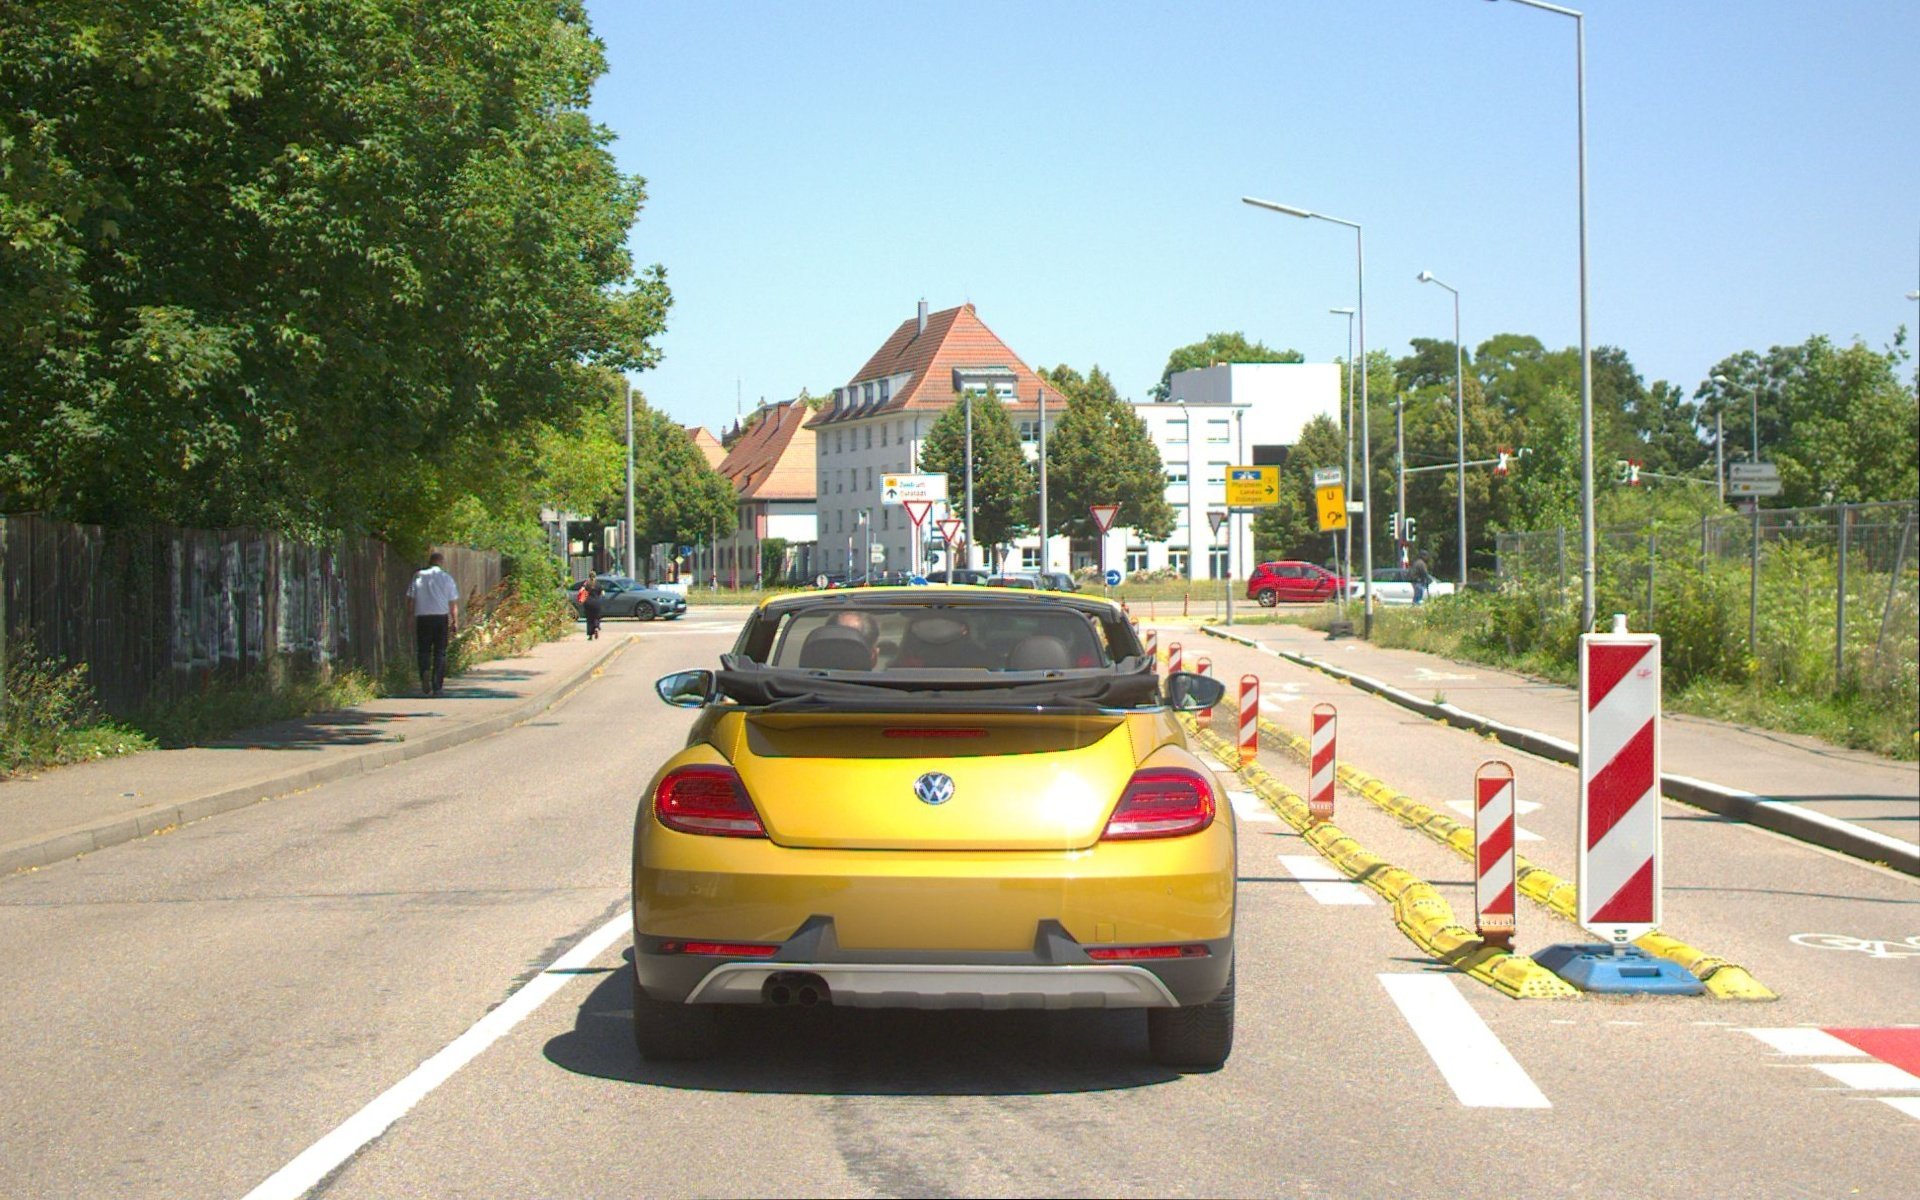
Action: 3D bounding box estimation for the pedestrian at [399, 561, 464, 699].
[{"bbox_3d":[-6.619,0.369,43.106,0.722,1.719,0.818,0,0,-3],"label":"pedestrian"}]

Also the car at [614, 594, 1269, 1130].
[{"bbox_3d":[-0.067,0.716,11.353,1.790,1.432,3.814,0,1,-1],"label":"car"}]

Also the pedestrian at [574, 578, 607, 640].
[{"bbox_3d":[-8.703,0.219,80.922,0.722,1.449,0.818,0,0,-3],"label":"pedestrian"}]

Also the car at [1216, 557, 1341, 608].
[{"bbox_3d":[10.736,-0.600,115.710,4.065,1.671,1.784,0,0,10],"label":"car"}]

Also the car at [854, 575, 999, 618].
[{"bbox_3d":[-1.057,-0.117,109.654,4.441,1.353,1.537,0,0,8],"label":"car"}]

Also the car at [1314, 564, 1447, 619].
[{"bbox_3d":[13.151,-0.264,107.524,4.065,1.671,1.784,0,0,9],"label":"car"}]

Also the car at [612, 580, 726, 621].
[{"bbox_3d":[-9.425,0.013,111.489,3.438,1.271,1.406,-1,0,10],"label":"car"}]

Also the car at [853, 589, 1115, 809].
[{"bbox_3d":[0.204,0.650,24.723,1.727,1.438,4.000,0,0,1],"label":"car"}]
